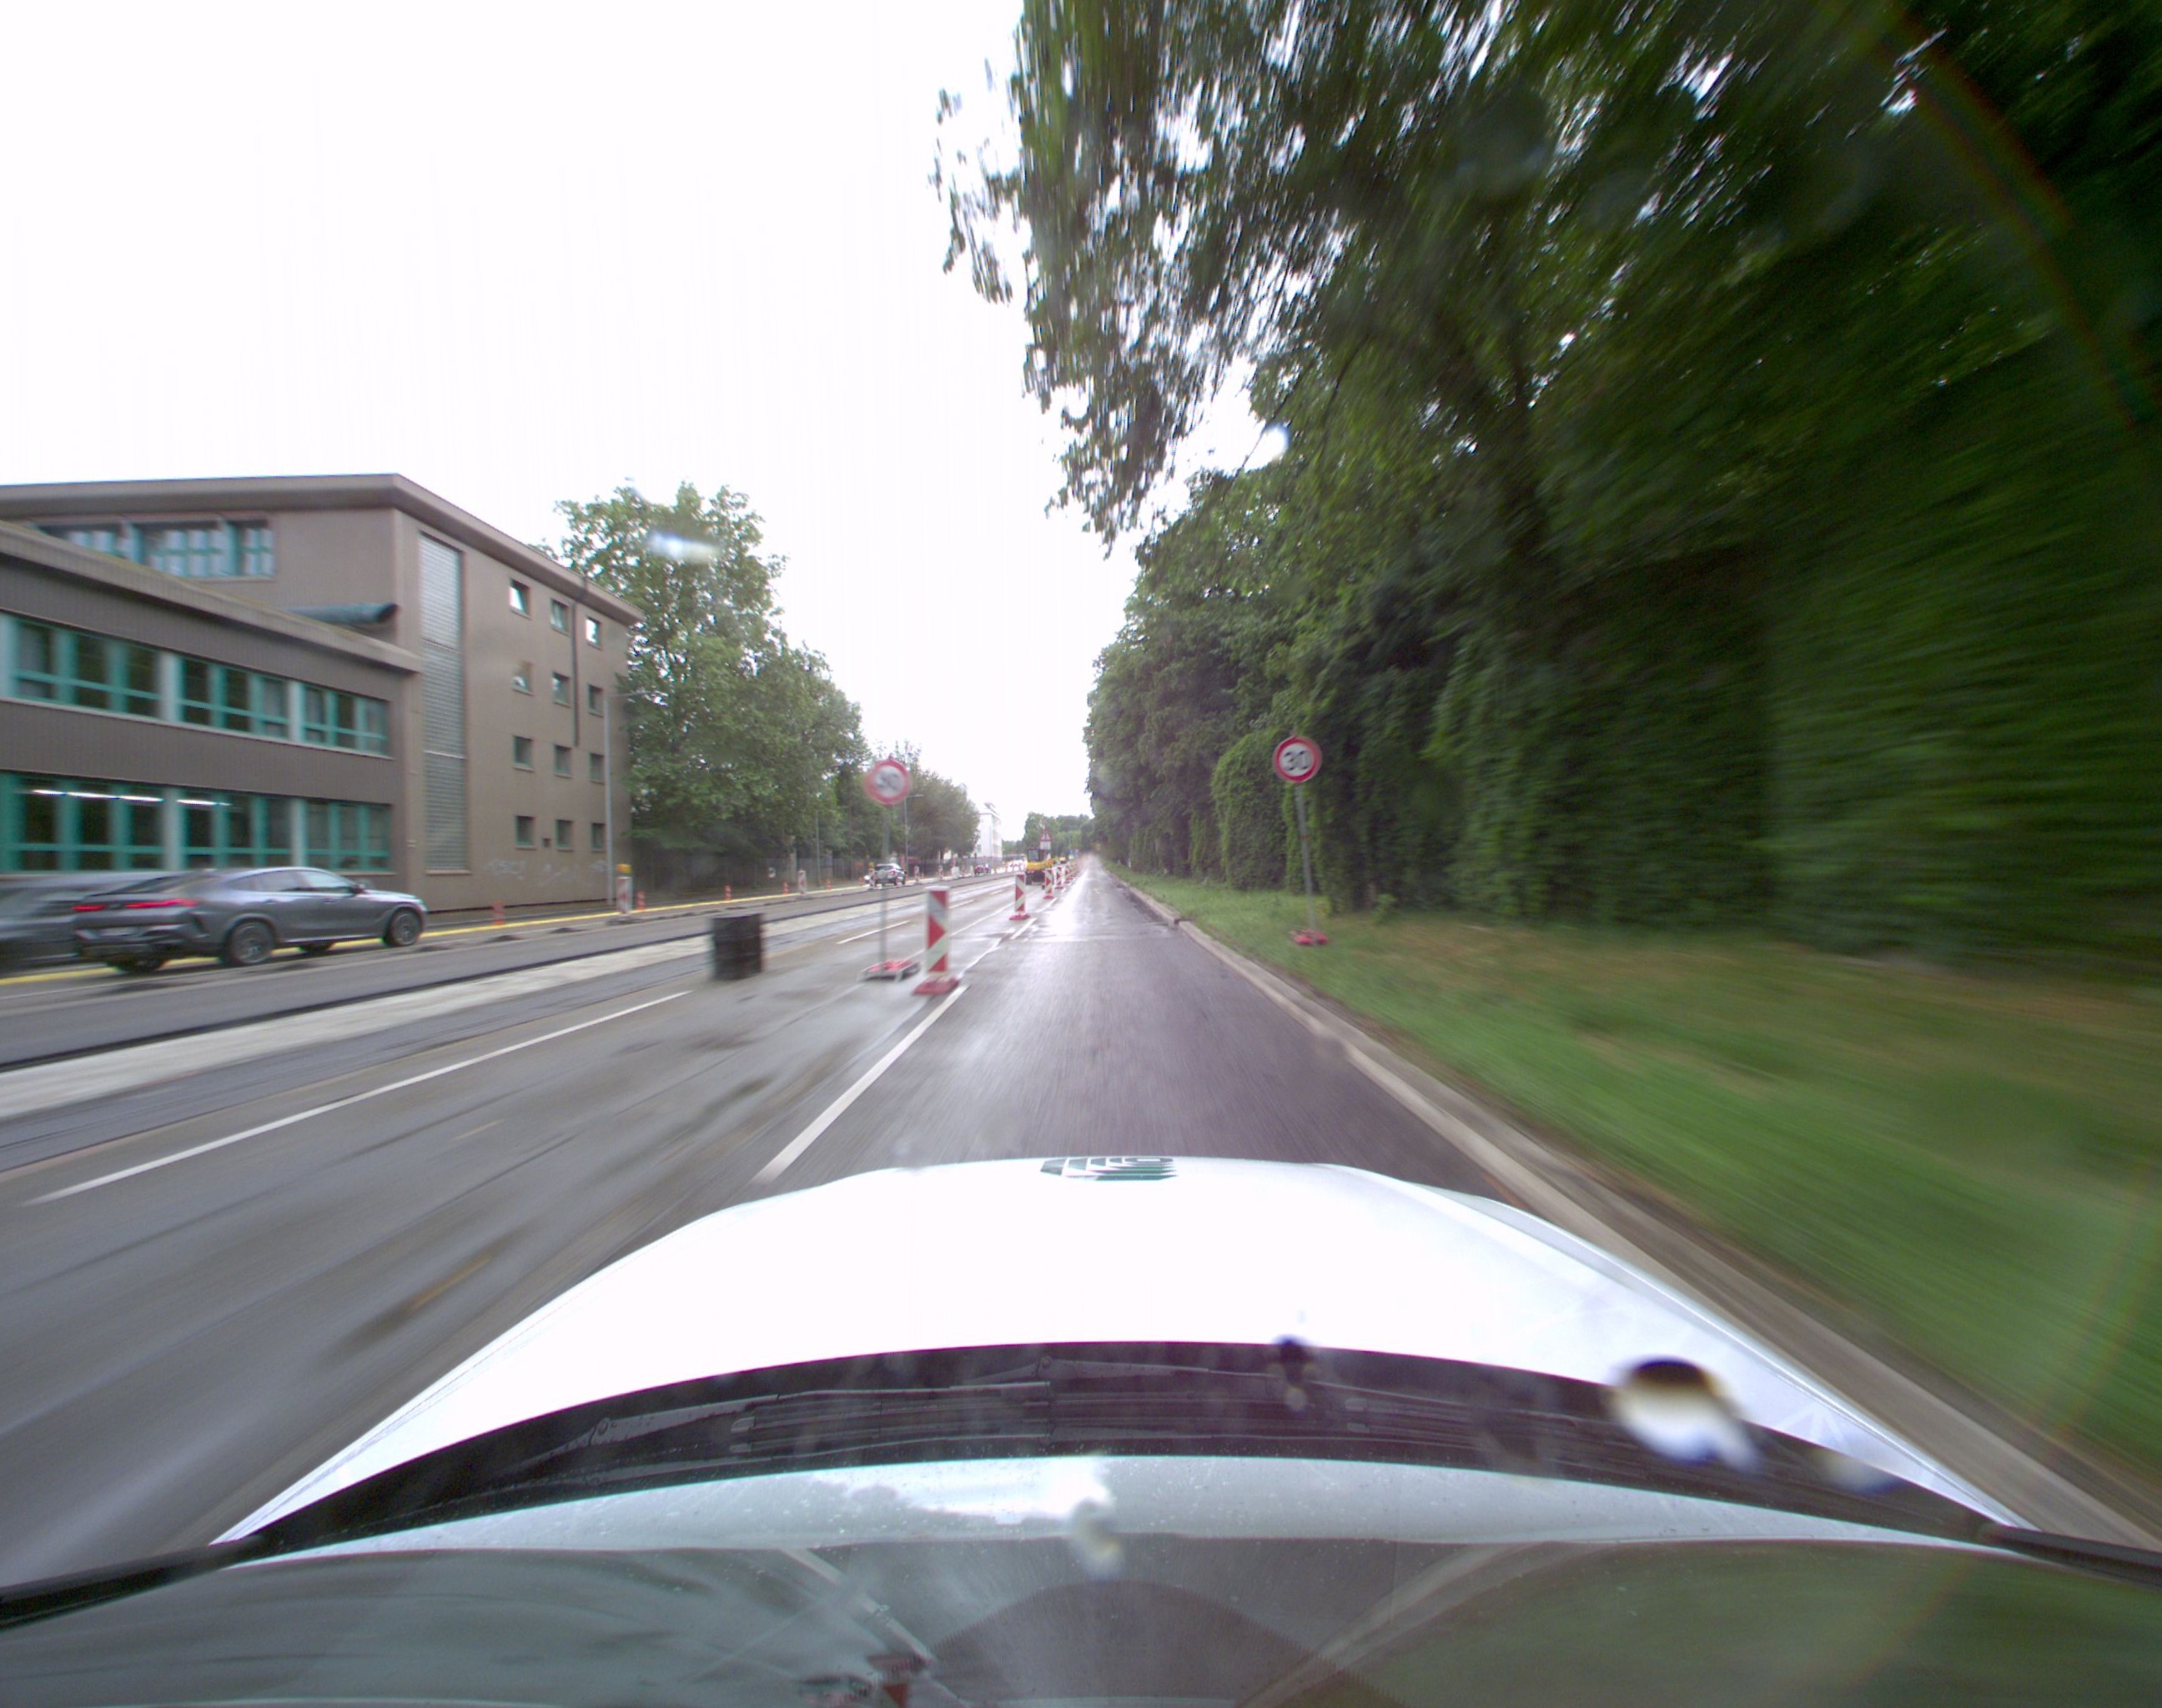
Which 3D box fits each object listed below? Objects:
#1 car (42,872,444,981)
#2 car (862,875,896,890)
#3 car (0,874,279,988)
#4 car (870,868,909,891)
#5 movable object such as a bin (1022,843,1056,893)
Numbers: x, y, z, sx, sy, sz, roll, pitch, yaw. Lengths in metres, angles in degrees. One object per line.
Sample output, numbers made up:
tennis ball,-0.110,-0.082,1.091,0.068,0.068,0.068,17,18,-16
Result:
car,-14.705,1.159,14.903,2.070,1.613,5.055,-1,-1,0
car,-19.365,2.717,78.260,1.986,1.348,4.791,-1,-1,1
car,-17.972,1.285,14.669,1.985,1.780,4.957,-1,-1,3
car,-13.968,1.846,59.651,1.848,1.648,4.000,-1,-1,1
movable object such as a bin,-2.935,1.041,58.366,1.986,3.368,5.982,-1,-1,1
